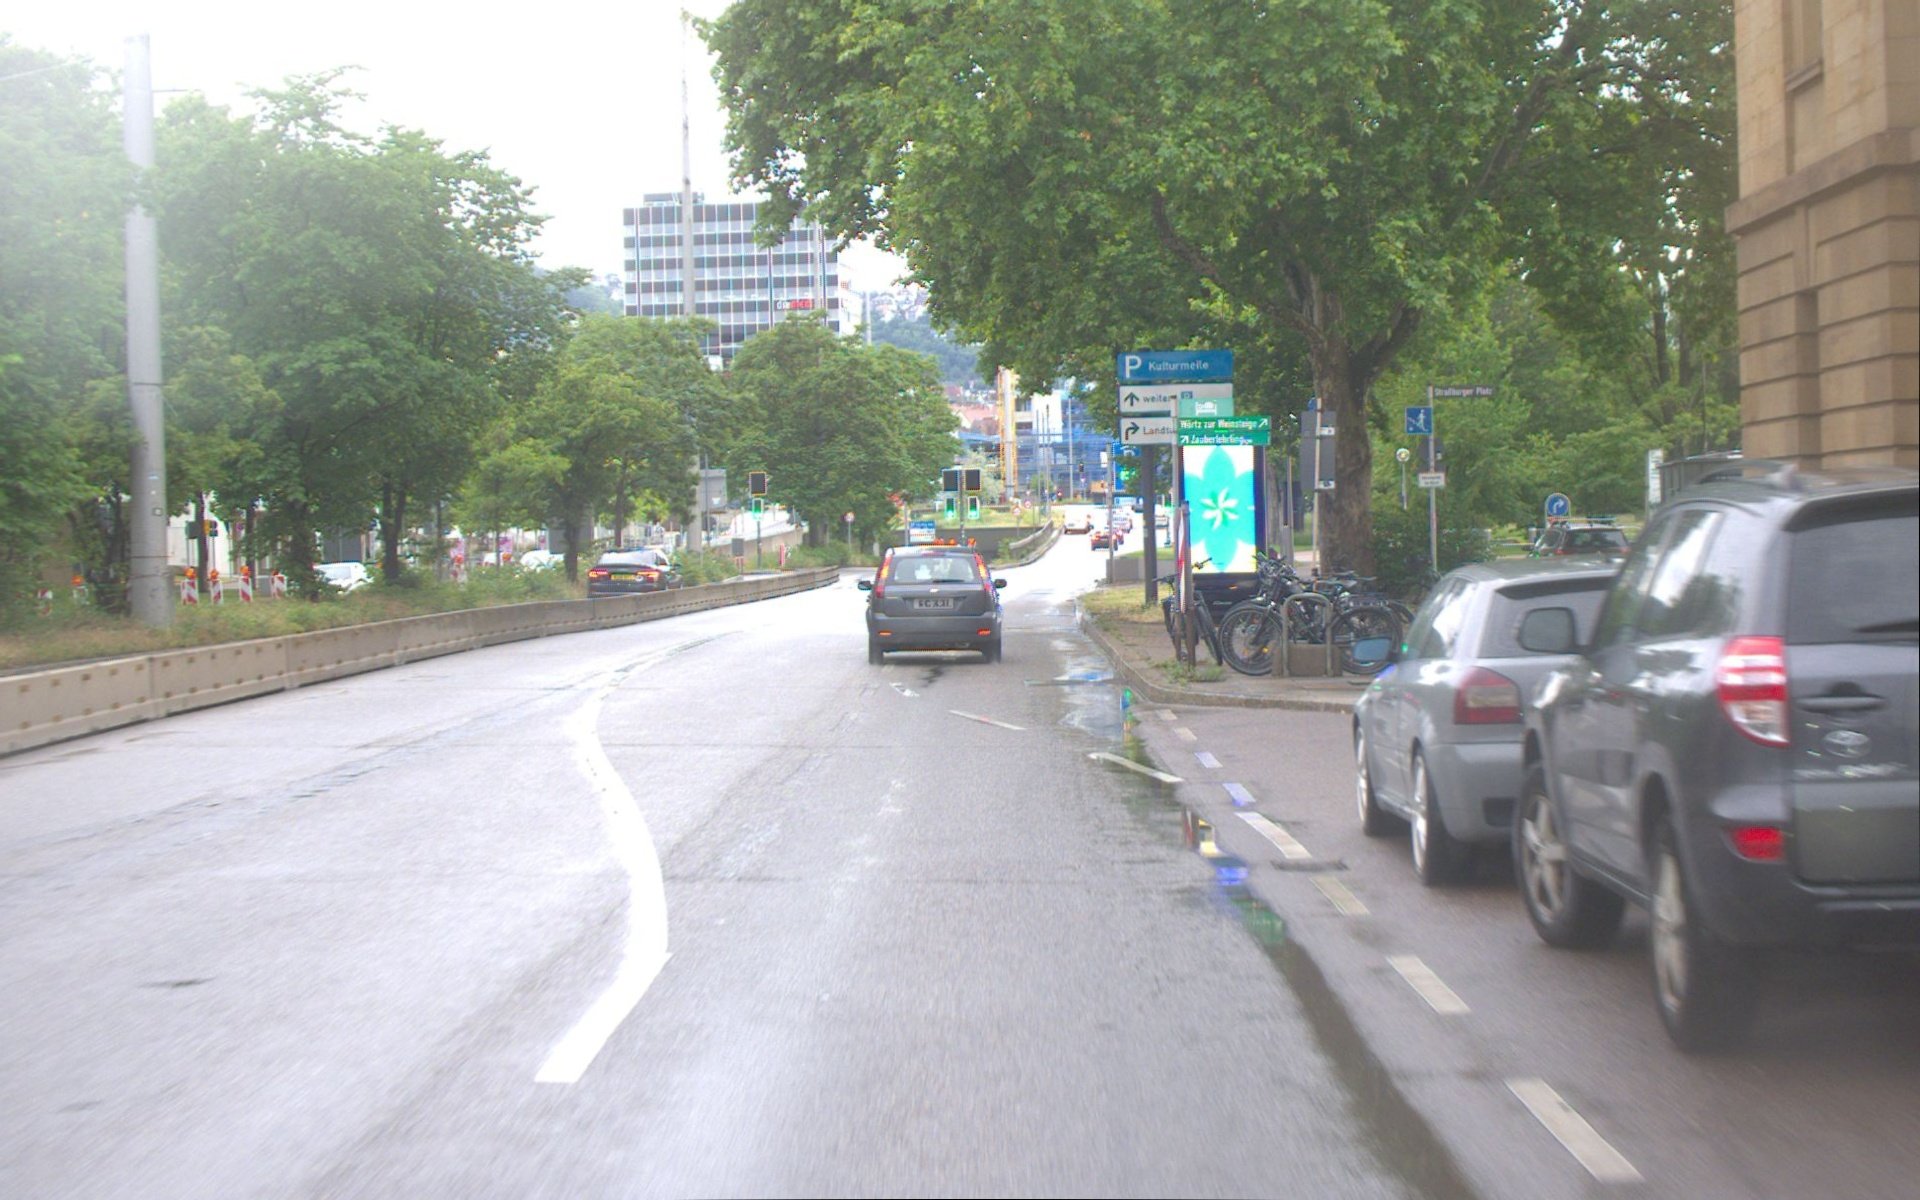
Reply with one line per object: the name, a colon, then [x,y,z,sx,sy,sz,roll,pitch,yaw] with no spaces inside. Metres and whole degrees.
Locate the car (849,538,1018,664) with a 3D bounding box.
car: [-0.375,0.011,42.999,1.844,1.411,3.840,-3,0,-4]

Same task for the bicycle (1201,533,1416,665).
bicycle: [3.636,-0.014,35.957,2.191,1.332,0.650,-1,1,3]

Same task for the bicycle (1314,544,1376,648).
bicycle: [4.654,-0.055,41.524,0.605,1.193,1.904,-3,0,9]

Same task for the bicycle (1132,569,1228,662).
bicycle: [2.380,0.159,37.079,0.669,0.964,1.636,-1,1,17]

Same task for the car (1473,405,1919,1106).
car: [2.824,0.368,10.796,1.994,1.775,4.188,-1,0,3]

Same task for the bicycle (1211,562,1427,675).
bicycle: [3.472,0.177,33.376,1.985,1.056,0.759,-1,1,-2]

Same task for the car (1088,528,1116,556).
car: [9.666,-3.921,233.669,1.739,1.765,3.999,-3,0,4]

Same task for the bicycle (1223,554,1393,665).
bicycle: [3.523,0.094,34.865,1.679,1.086,0.650,-1,1,3]

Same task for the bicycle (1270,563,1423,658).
bicycle: [4.143,0.113,36.888,1.589,0.991,0.524,-1,1,3]

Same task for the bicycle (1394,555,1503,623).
bicycle: [7.578,-0.174,53.416,1.641,1.017,0.575,1,0,6]

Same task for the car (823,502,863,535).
car: [-6.055,-4.214,177.858,1.993,1.626,4.000,-1,1,-2]

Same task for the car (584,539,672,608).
car: [-7.582,-0.616,78.682,1.754,1.447,4.000,-3,1,-3]

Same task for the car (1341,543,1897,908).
car: [2.910,0.498,15.966,1.931,1.473,3.703,-1,0,1]

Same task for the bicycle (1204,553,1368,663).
bicycle: [3.421,0.081,36.172,1.679,1.118,0.601,-1,1,3]

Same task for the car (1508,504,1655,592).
car: [12.305,-1.066,68.337,1.993,1.604,5.237,-1,2,0]

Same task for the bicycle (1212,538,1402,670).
bicycle: [3.560,0.036,35.382,1.906,1.328,0.650,-1,1,3]
